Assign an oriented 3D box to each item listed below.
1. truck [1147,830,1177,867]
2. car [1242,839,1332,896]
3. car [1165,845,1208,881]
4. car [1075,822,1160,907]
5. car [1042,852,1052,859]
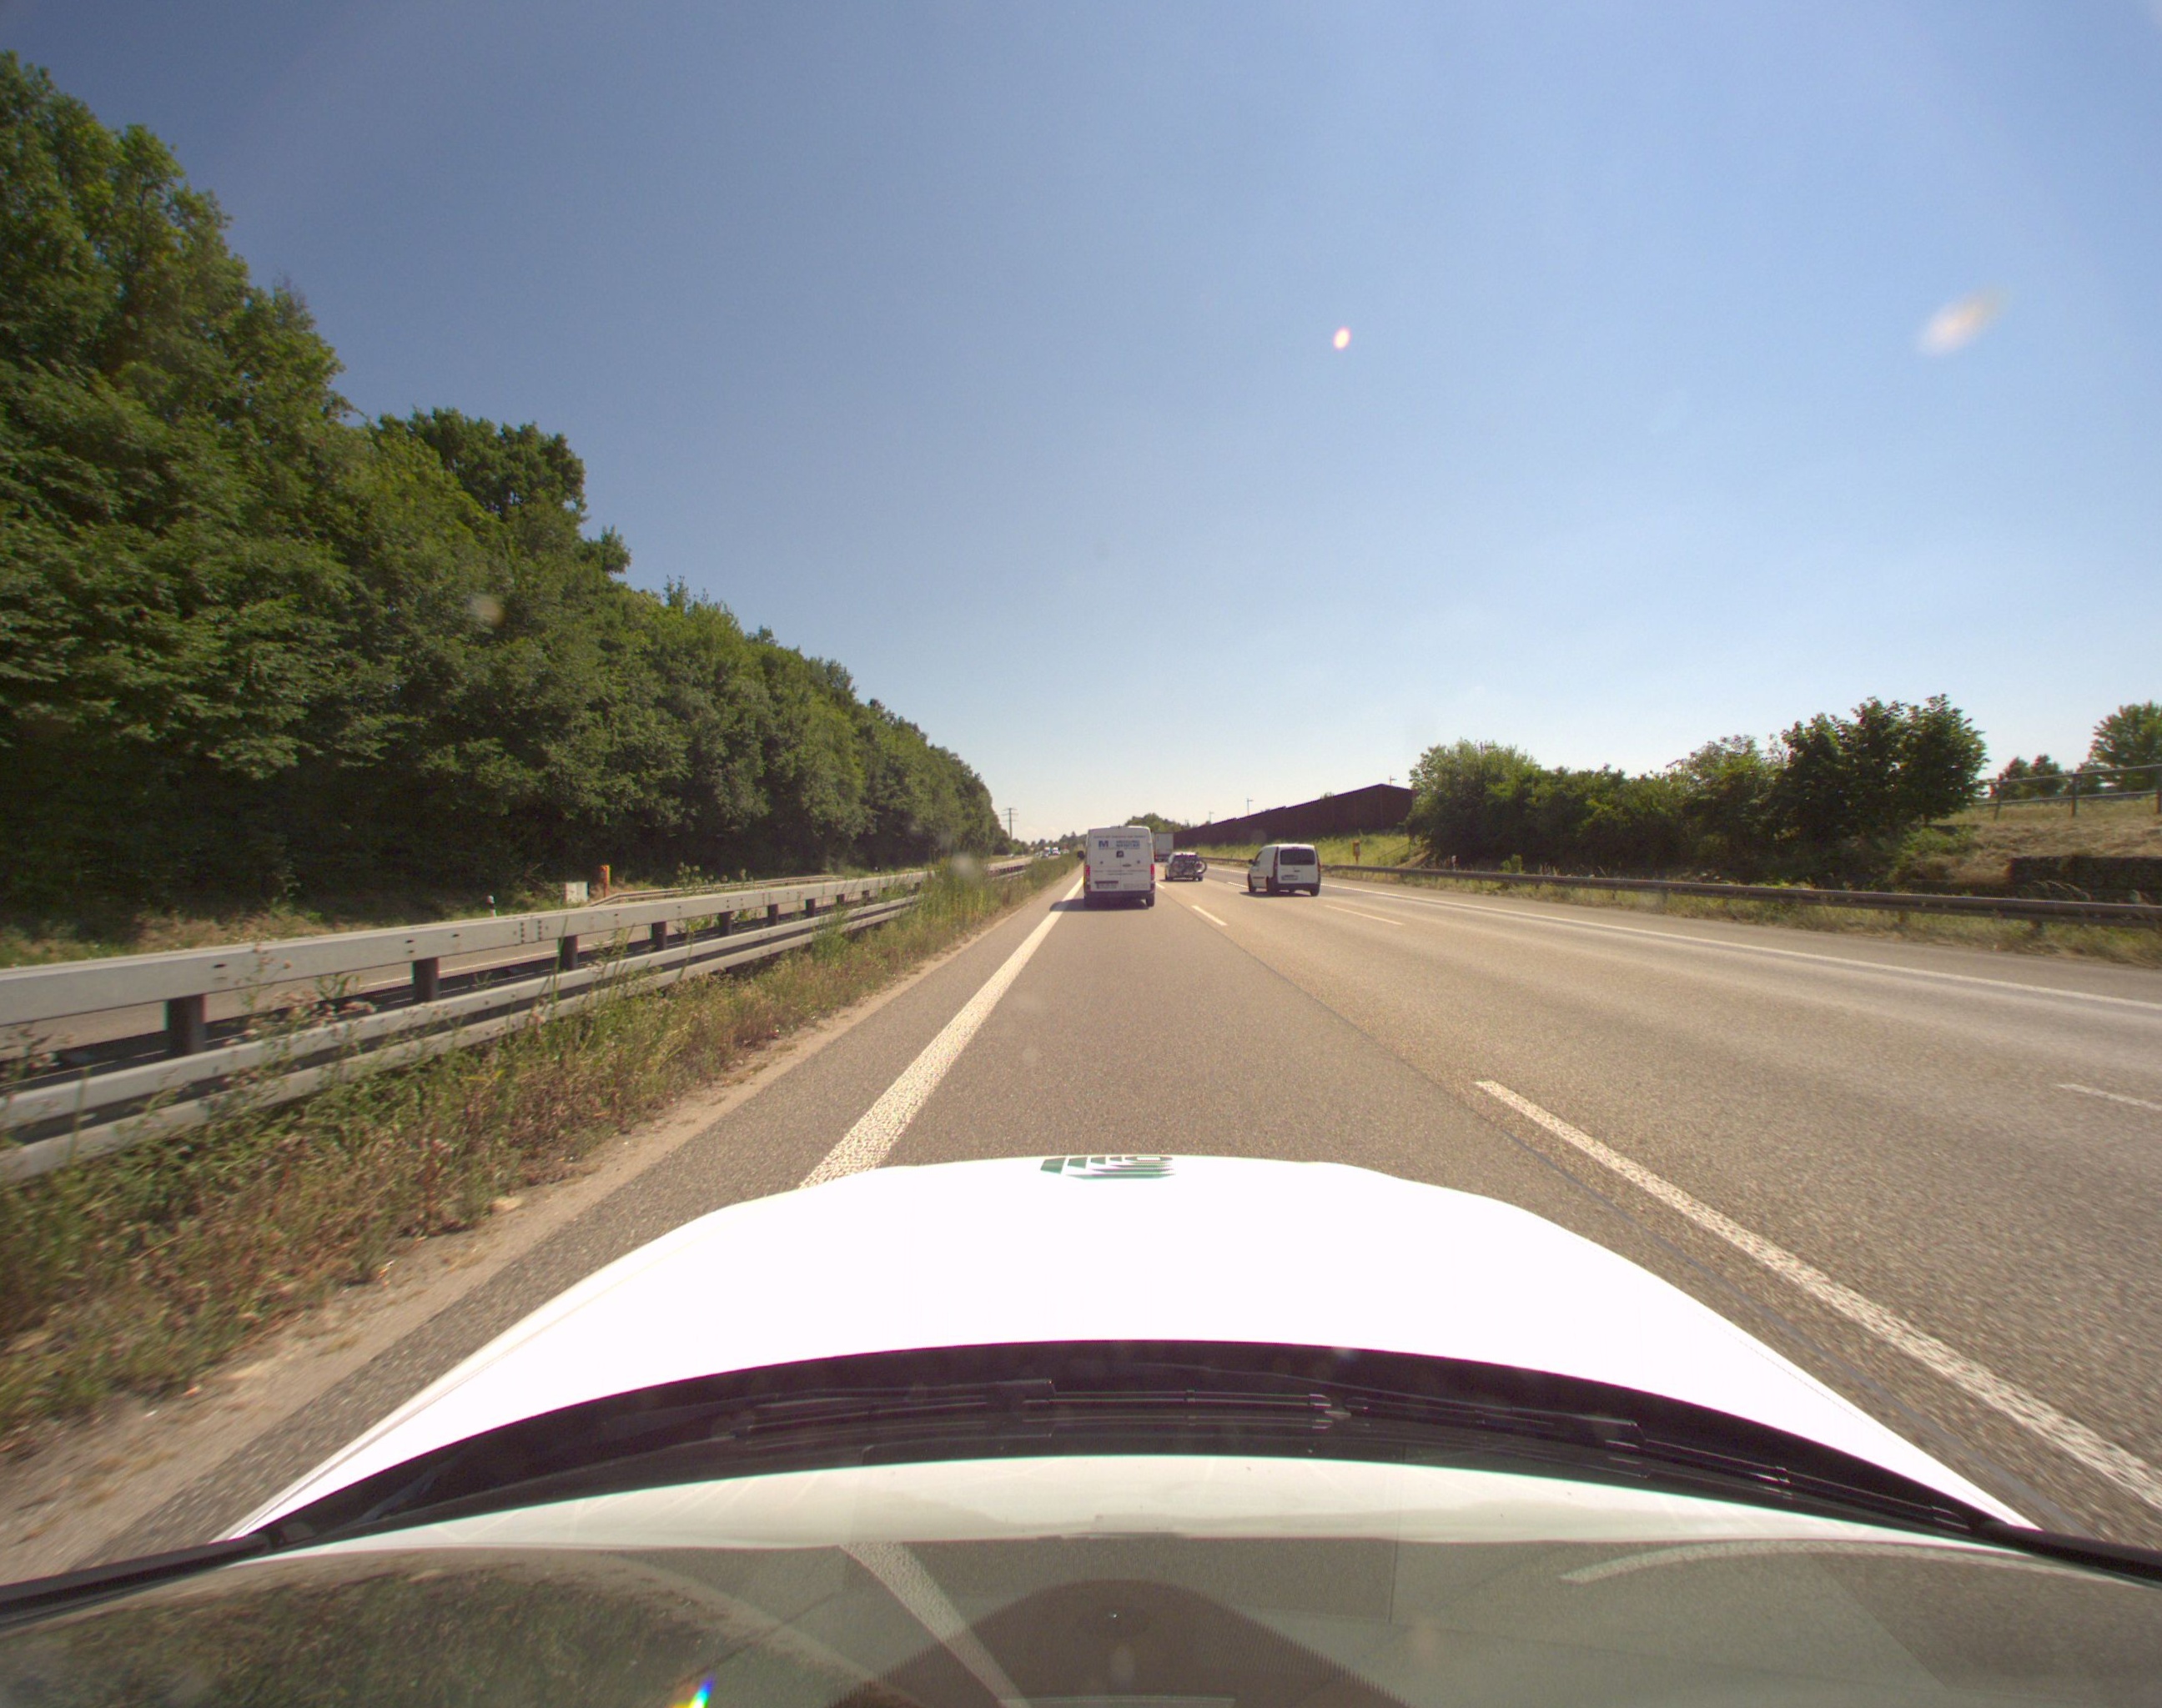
[{"bbox_3d":[11.237,-0.655,114.392,3.772,5.000,12.529,0,-1,3],"label":"truck"},{"bbox_3d":[7.291,0.460,29.259,1.946,1.838,4.174,-2,-1,-3],"label":"car"},{"bbox_3d":[5.566,0.467,43.332,1.967,1.733,4.092,-2,-1,3],"label":"car"},{"bbox_3d":[0.949,0.307,24.436,2.176,2.254,5.359,0,-1,-2],"label":"car"},{"bbox_3d":[-8.030,0.257,194.919,1.986,1.519,4.723,-3,0,1],"label":"car"}]
